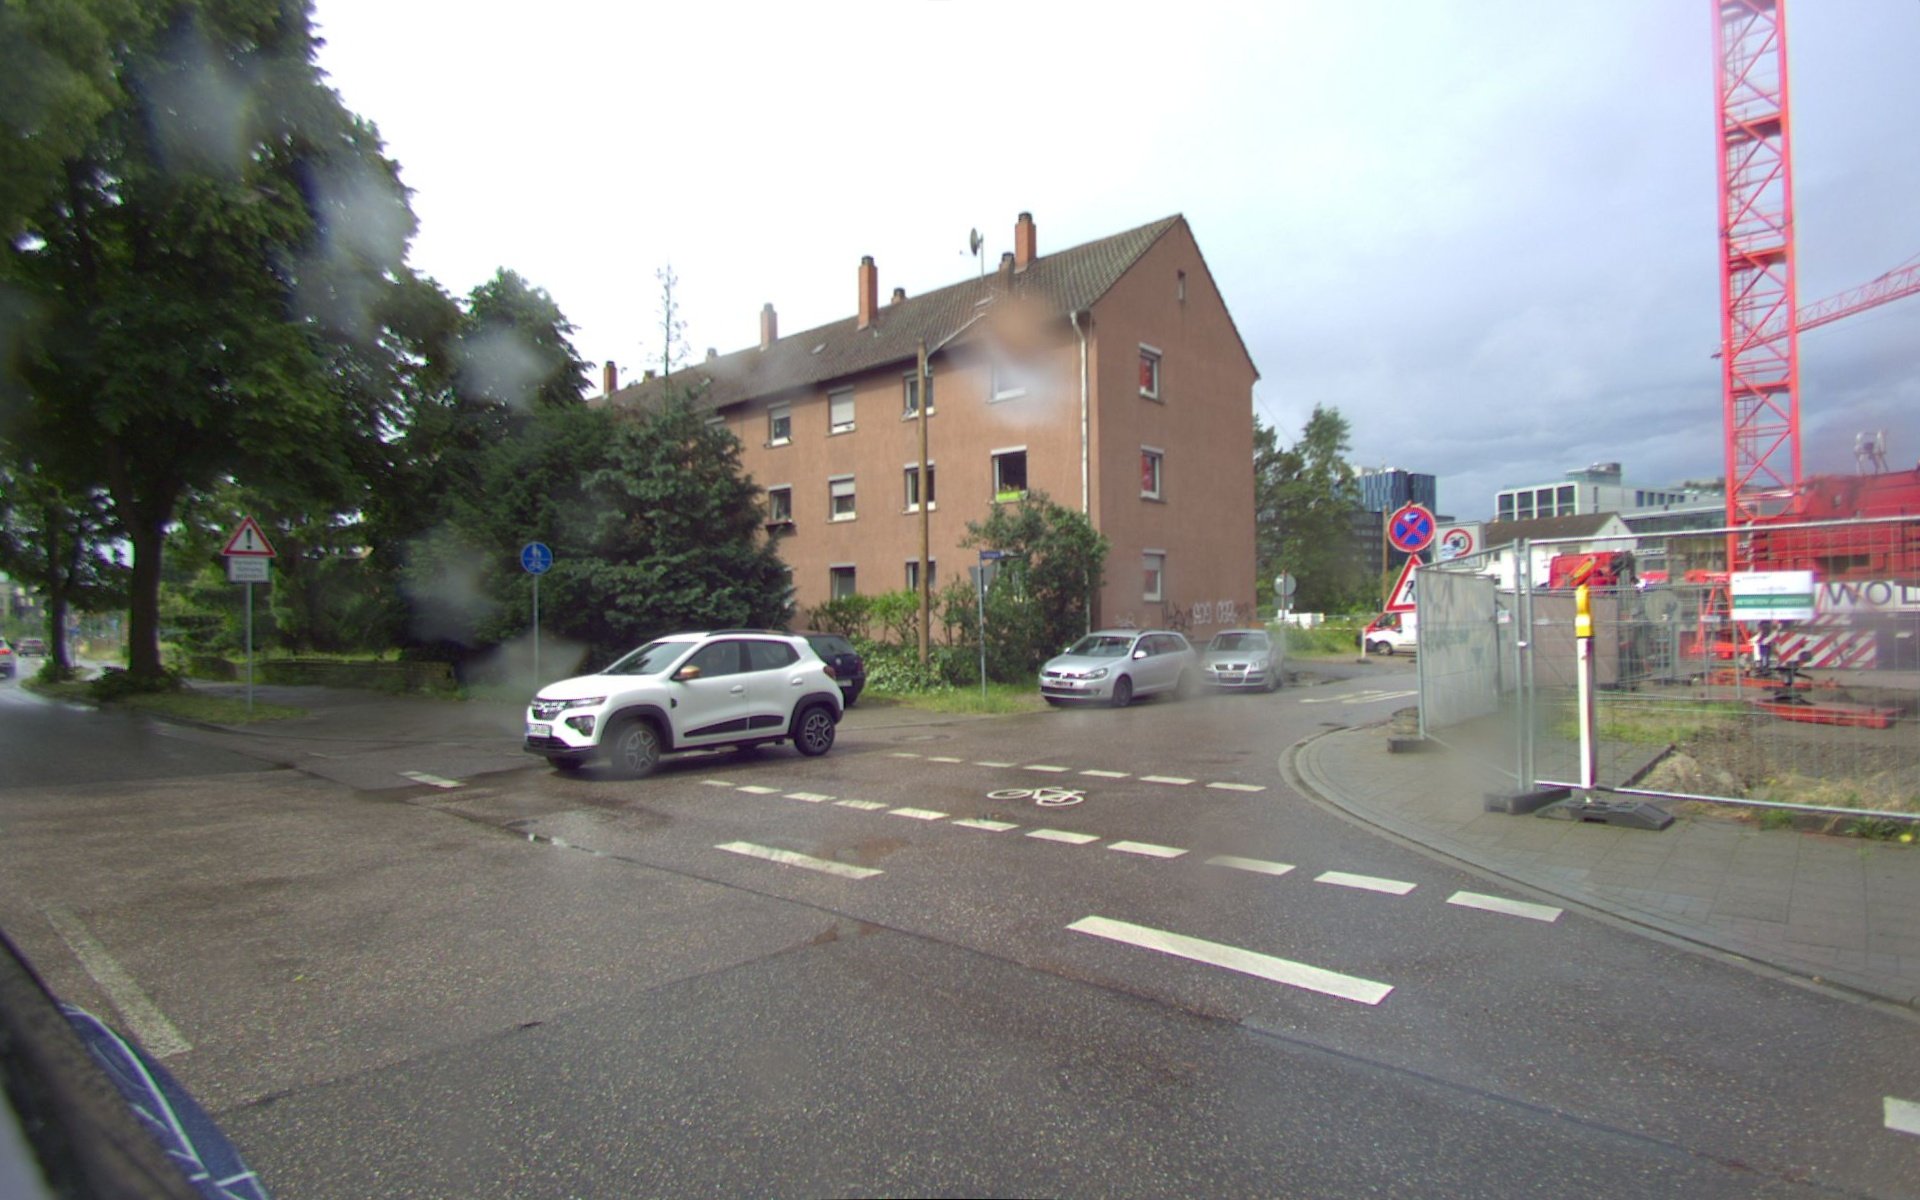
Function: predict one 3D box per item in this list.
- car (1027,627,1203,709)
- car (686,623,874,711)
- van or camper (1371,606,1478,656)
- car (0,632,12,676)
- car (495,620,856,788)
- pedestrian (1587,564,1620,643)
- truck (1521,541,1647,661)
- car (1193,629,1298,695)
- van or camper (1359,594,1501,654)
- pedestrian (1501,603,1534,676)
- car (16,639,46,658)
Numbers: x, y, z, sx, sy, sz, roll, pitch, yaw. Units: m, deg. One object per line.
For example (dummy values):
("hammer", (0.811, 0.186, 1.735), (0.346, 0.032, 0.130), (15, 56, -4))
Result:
("car", (3.227, 1.300, 20.560), (1.726, 1.485, 4.013), (-2, -2, 40))
("car", (-3.566, 1.221, 19.718), (3.870, 1.431, 1.606), (0, 1, 43))
("van or camper", (19.864, 1.334, 43.316), (3.987, 2.029, 1.928), (-1, -4, 32))
("car", (-39.632, 2.178, 40.702), (4.228, 1.727, 1.866), (-2, -3, 42))
("car", (-3.093, 1.026, 11.464), (1.738, 1.545, 3.566), (-2, -2, 42))
("pedestrian", (16.866, 0.107, 26.519), (0.685, 2.029, 0.487), (-1, -5, 34))
("truck", (19.020, -0.055, 30.641), (2.347, 3.219, 6.927), (-1, 1, 39))
("car", (6.940, 1.430, 24.329), (1.719, 1.424, 4.031), (-1, -2, 26))
("van or camper", (21.293, 1.132, 45.994), (5.570, 2.530, 1.926), (-1, -5, 36))
("pedestrian", (15.651, 1.117, 28.417), (0.747, 2.029, 0.427), (-1, -5, 37))
("car", (-77.950, 4.062, 84.869), (3.795, 1.519, 1.661), (-3, -3, 45))
